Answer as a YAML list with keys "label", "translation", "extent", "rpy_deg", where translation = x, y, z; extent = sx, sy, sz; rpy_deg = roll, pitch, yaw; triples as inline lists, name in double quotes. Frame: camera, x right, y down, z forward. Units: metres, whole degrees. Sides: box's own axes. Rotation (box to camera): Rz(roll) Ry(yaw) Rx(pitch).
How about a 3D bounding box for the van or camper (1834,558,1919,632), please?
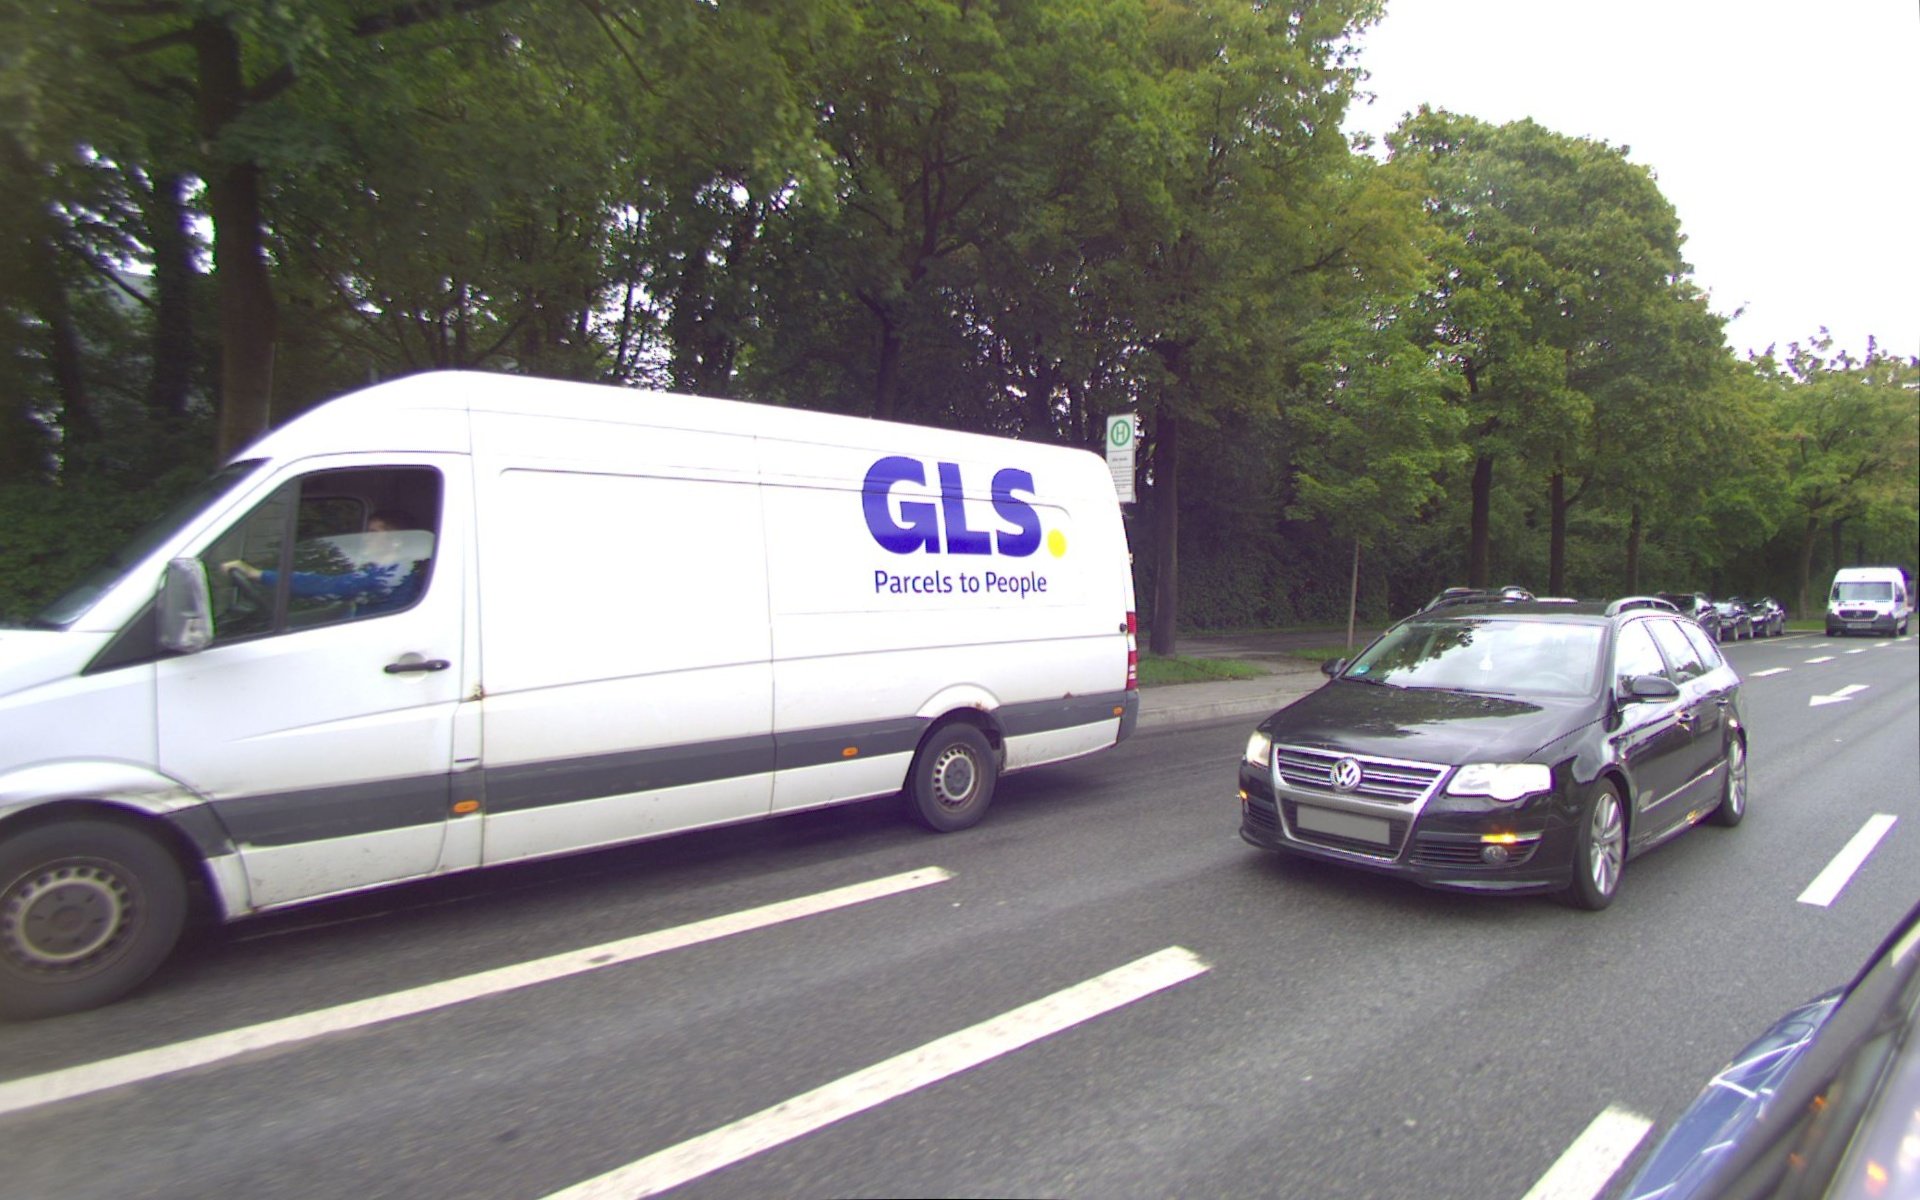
- label: "van or camper"
  translation: [35.585, -0.211, 38.691]
  extent: [6.949, 2.593, 2.182]
  rpy_deg: [0, 1, -40]

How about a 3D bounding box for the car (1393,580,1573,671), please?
- label: "car"
  translation: [10.876, 0.444, 20.914]
  extent: [4.321, 1.670, 1.882]
  rpy_deg: [-1, 1, -42]

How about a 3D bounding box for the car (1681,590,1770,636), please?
- label: "car"
  translation: [26.699, 0.399, 35.257]
  extent: [3.969, 1.485, 1.750]
  rpy_deg: [-1, 1, -42]

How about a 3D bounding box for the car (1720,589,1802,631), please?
- label: "car"
  translation: [30.411, 0.351, 38.403]
  extent: [4.182, 1.485, 1.750]
  rpy_deg: [-1, 1, -42]

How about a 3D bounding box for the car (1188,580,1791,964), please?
- label: "car"
  translation: [3.466, 0.646, 6.131]
  extent: [4.591, 1.493, 1.750]
  rpy_deg: [-1, 1, -42]

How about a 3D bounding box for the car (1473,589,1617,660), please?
- label: "car"
  translation: [14.207, 0.525, 24.491]
  extent: [4.321, 1.543, 1.750]
  rpy_deg: [-1, 1, -42]

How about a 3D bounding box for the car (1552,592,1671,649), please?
- label: "car"
  translation: [18.201, 0.512, 28.194]
  extent: [4.182, 1.446, 1.750]
  rpy_deg: [-1, 1, -42]

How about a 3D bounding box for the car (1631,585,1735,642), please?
- label: "car"
  translation: [22.650, 0.366, 31.651]
  extent: [4.182, 1.670, 1.750]
  rpy_deg: [-1, 1, -42]

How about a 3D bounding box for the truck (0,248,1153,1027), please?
- label: "truck"
  translation: [-1.828, 0.091, 6.056]
  extent: [7.103, 2.636, 1.996]
  rpy_deg: [-1, 1, -42]
